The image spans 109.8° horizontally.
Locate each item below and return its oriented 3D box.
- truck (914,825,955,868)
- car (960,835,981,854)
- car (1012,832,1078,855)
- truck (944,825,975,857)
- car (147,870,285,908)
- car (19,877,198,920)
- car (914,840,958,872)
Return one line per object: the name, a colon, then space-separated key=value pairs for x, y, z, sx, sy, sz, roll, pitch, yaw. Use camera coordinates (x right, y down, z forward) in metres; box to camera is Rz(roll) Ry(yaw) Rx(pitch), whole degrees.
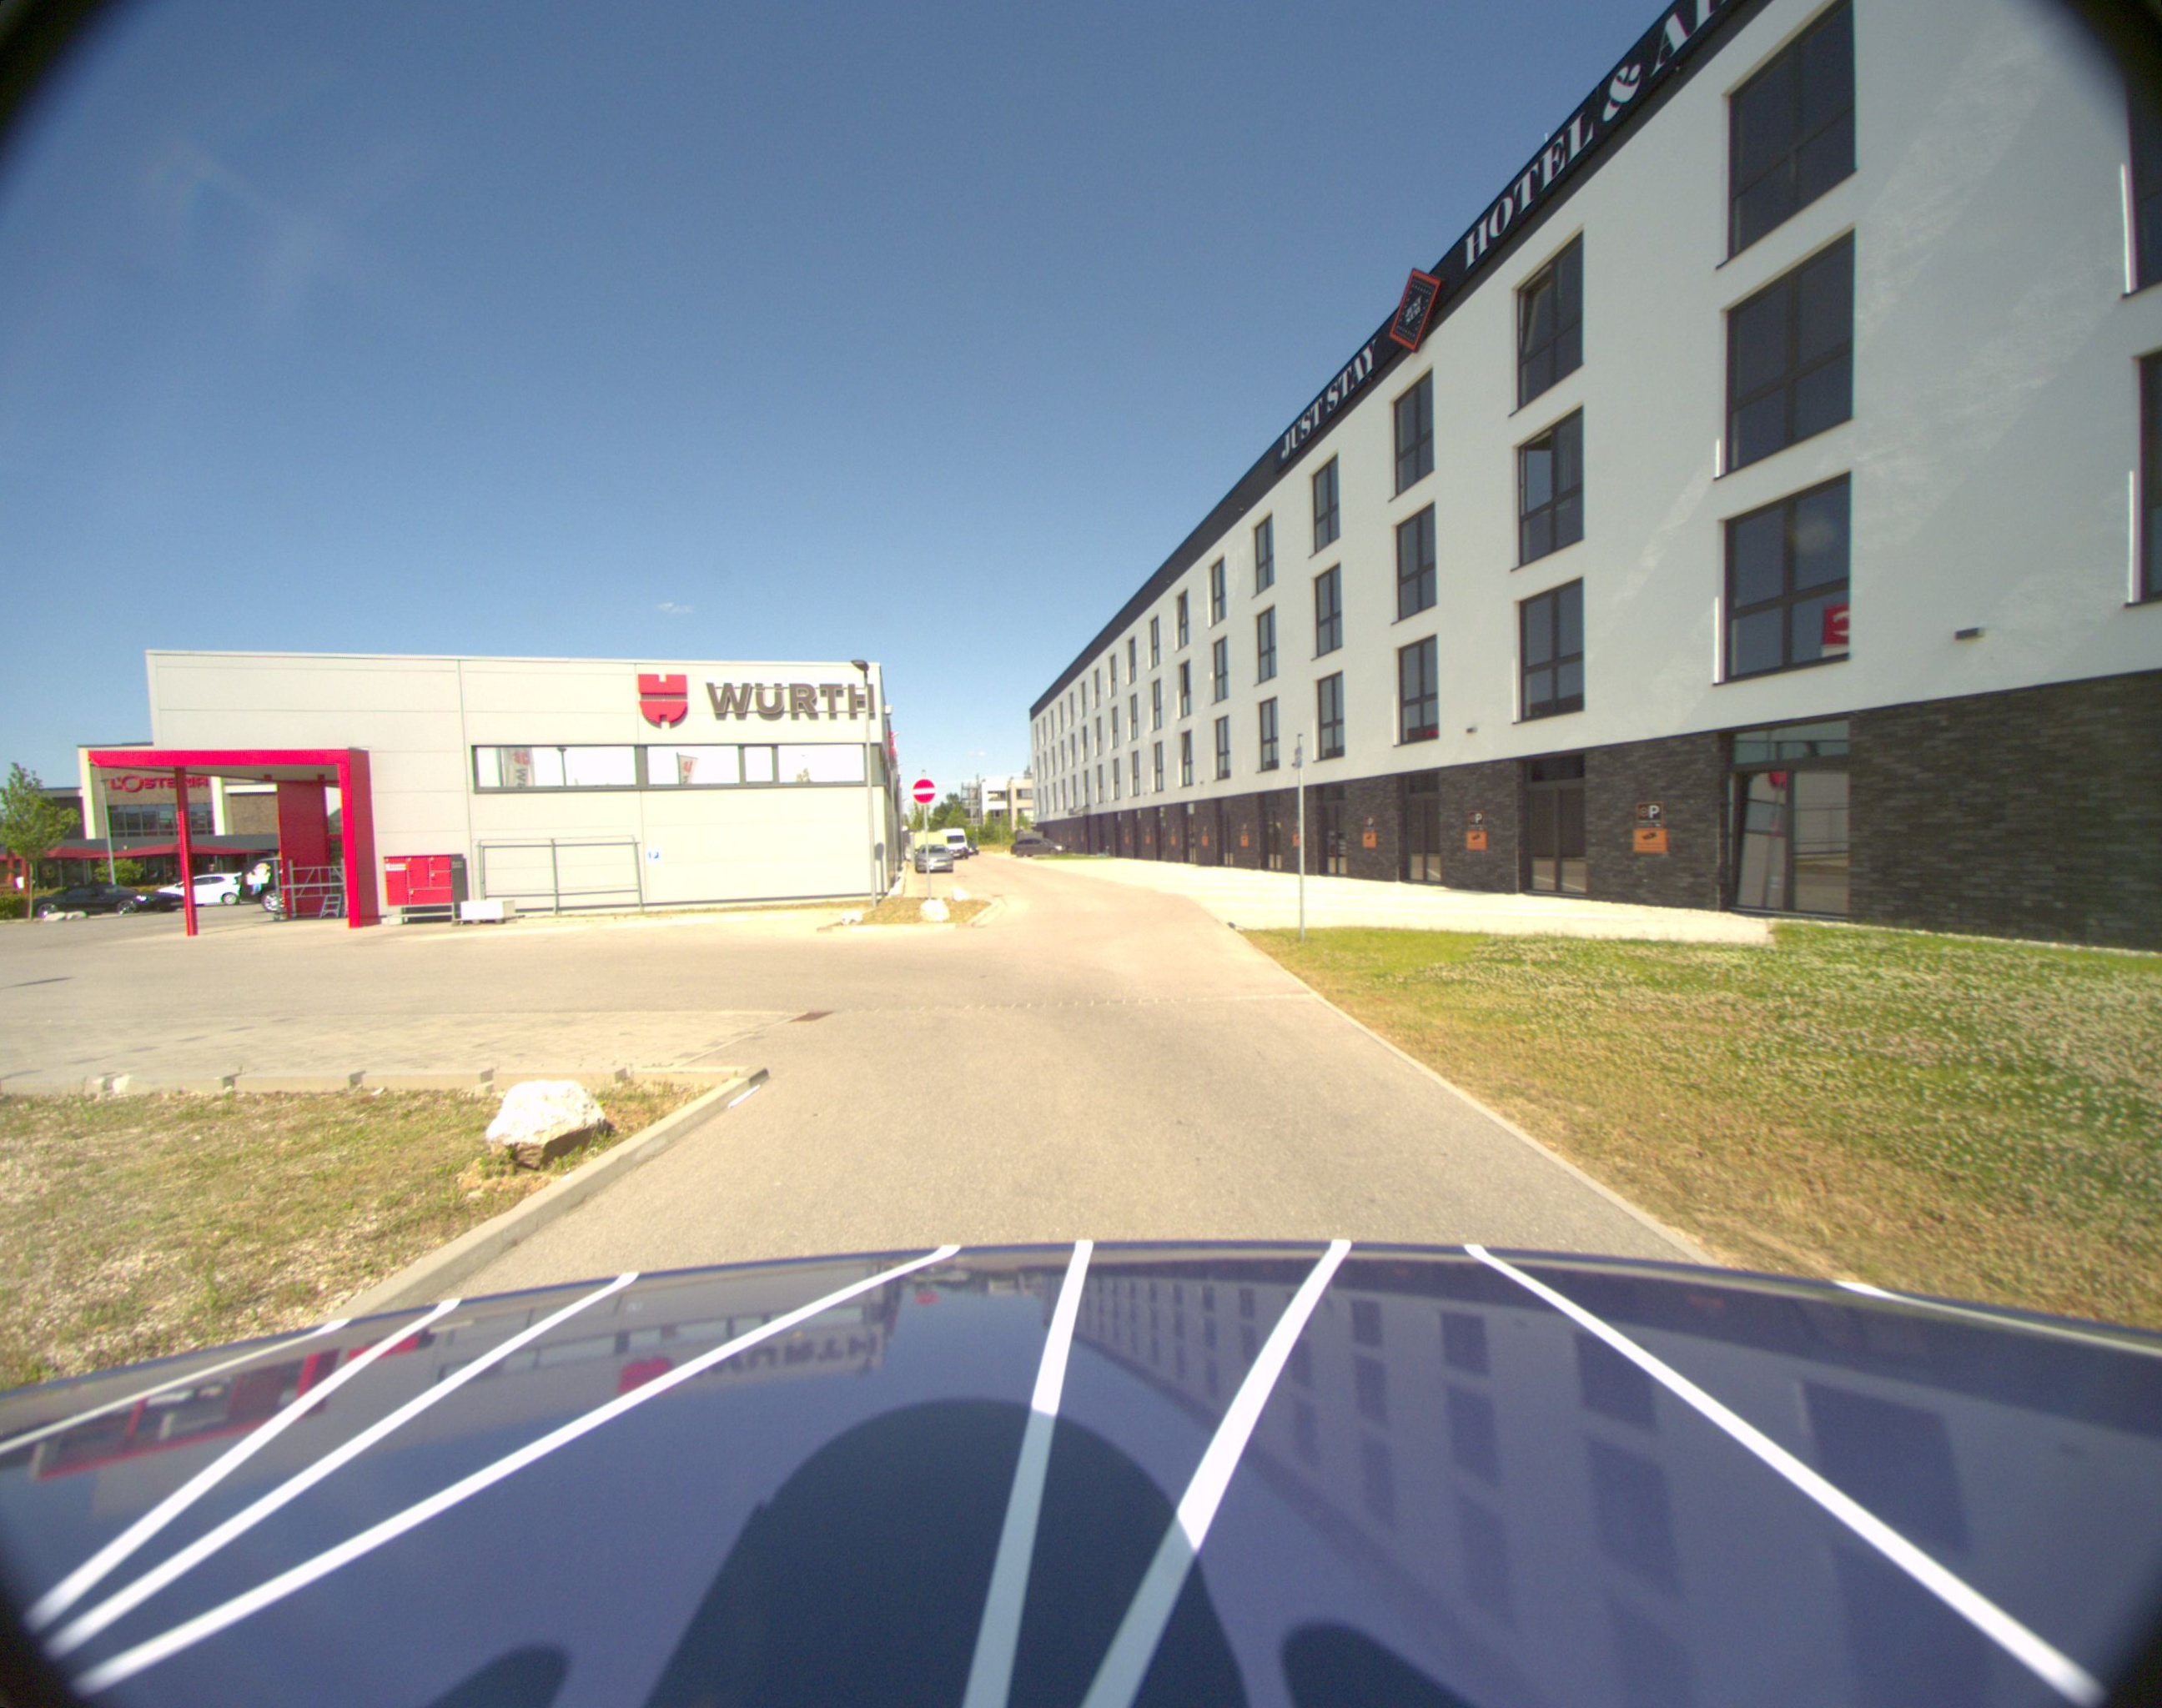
truck: x=-8.888 y=-0.484 z=45.736 sx=2.124 sy=2.363 sz=5.882 roll=-3 pitch=2 yaw=-13
car: x=-10.497 y=-0.889 z=72.057 sx=1.719 sy=1.609 sz=3.995 roll=-3 pitch=3 yaw=-10
car: x=-2.716 y=-0.784 z=56.961 sx=4.514 sy=1.500 sz=1.882 roll=-2 pitch=2 yaw=24
truck: x=-9.889 y=-1.057 z=61.461 sx=2.000 sy=2.363 sz=5.882 roll=-3 pitch=2 yaw=-13
car: x=-40.341 y=1.619 z=35.531 sx=3.914 sy=1.466 sz=1.801 roll=-3 pitch=2 yaw=-9
car: x=-39.265 y=1.756 z=30.798 sx=4.156 sy=1.330 sz=1.828 roll=-3 pitch=2 yaw=-14
car: x=-7.524 y=0.047 z=39.225 sx=1.880 sy=1.500 sz=3.994 roll=-3 pitch=2 yaw=-15
